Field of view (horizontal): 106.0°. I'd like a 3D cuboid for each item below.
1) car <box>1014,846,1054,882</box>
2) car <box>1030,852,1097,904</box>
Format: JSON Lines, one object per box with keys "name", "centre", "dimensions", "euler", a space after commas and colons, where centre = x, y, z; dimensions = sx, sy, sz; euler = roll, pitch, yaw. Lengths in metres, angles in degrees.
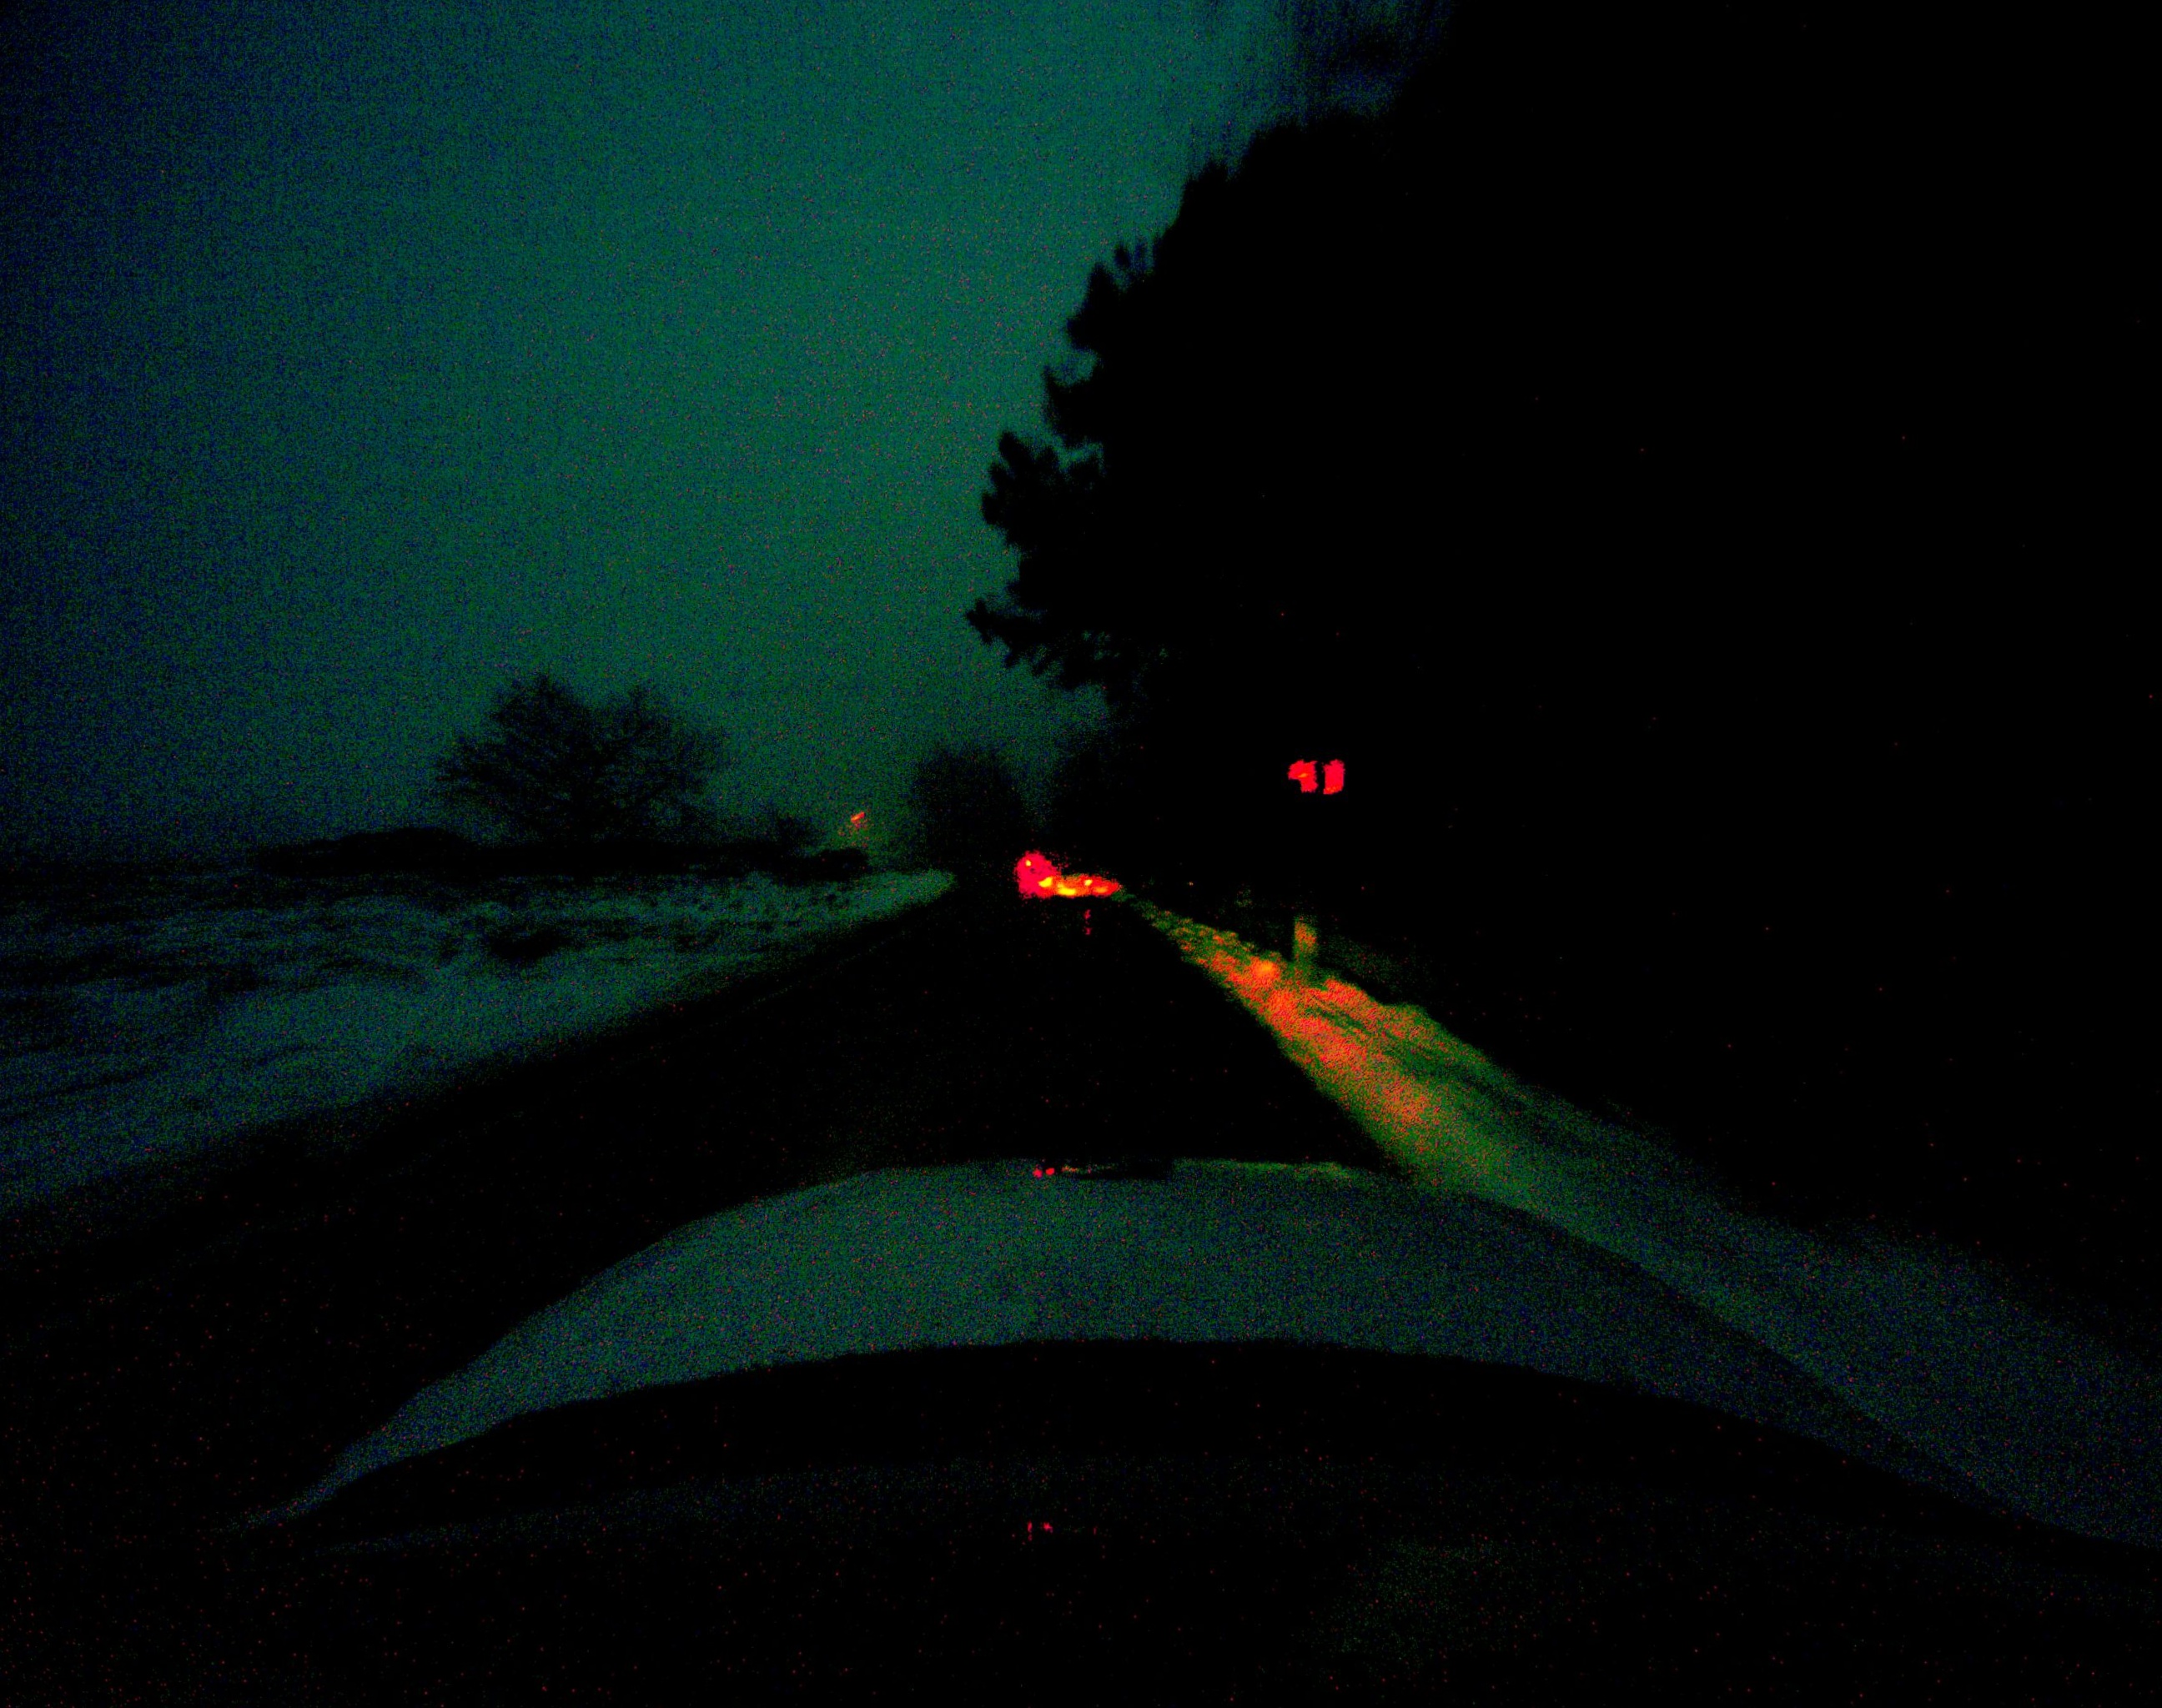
{"name": "car", "centre": [-2.411, 0.520, 42.473], "dimensions": [1.989, 1.750, 3.996], "euler": [0, -1, -2]}
{"name": "car", "centre": [-0.524, 0.730, 26.143], "dimensions": [1.987, 1.508, 3.999], "euler": [0, -1, 0]}
